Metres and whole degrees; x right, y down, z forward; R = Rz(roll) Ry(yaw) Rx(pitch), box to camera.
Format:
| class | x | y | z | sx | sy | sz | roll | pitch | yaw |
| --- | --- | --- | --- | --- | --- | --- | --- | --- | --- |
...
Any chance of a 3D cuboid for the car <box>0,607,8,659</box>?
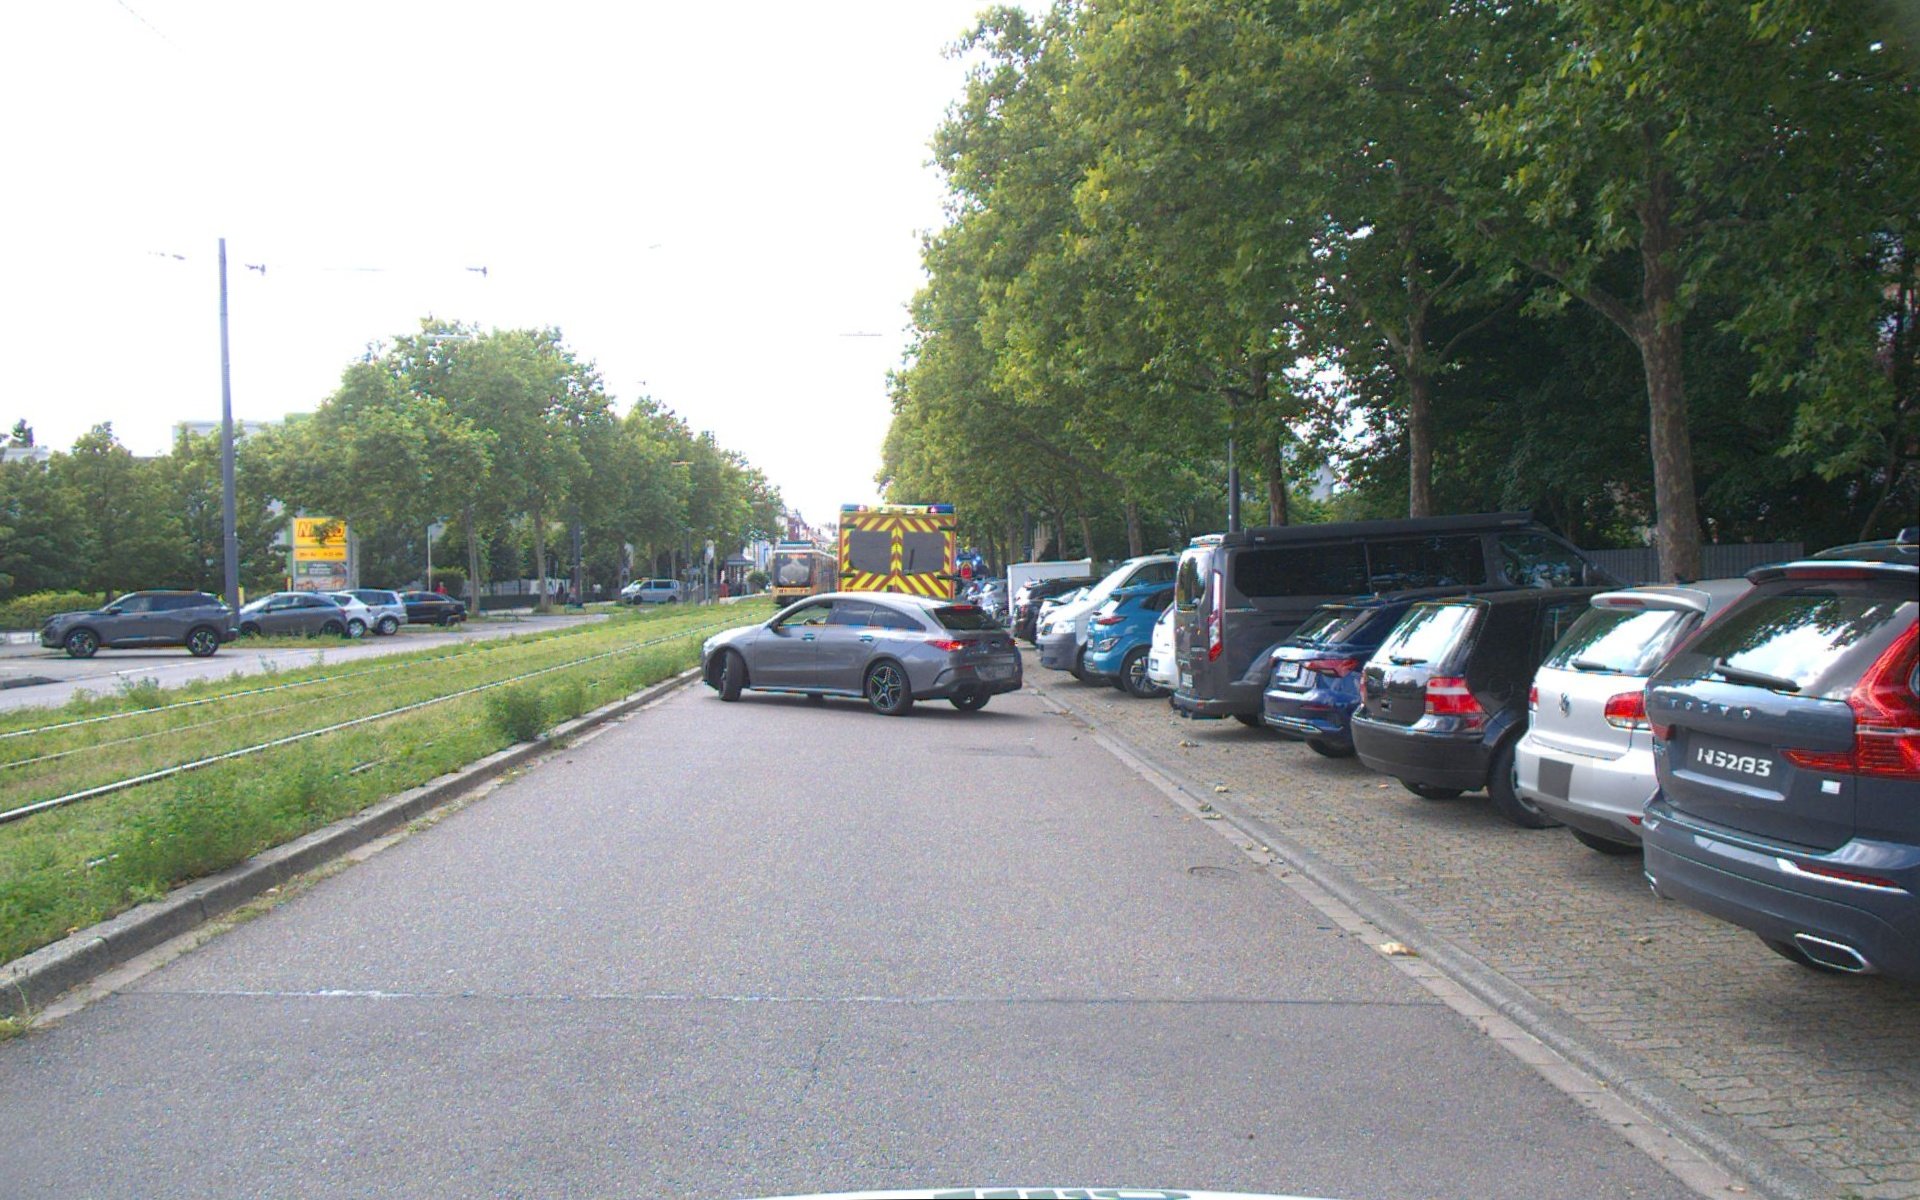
| class | x | y | z | sx | sy | sz | roll | pitch | yaw |
| --- | --- | --- | --- | --- | --- | --- | --- | --- | --- |
| car | -31.145 | 0.976 | 49.789 | 3.905 | 1.592 | 1.777 | 1 | 0 | 0 |

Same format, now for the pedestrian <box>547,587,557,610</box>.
| class | x | y | z | sx | sy | sz | roll | pitch | yaw |
| --- | --- | --- | --- | --- | --- | --- | --- | --- | --- |
| pedestrian | -25.680 | -0.072 | 104.108 | 0.412 | 1.439 | 0.467 | -1 | 0 | 22 |

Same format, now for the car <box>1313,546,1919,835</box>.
| class | x | y | z | sx | sy | sz | roll | pitch | yaw |
| --- | --- | --- | --- | --- | --- | --- | --- | --- | --- |
| car | 4.569 | 0.515 | 11.137 | 3.897 | 1.633 | 1.750 | -2 | 0 | -13 |

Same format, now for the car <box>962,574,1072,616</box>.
| class | x | y | z | sx | sy | sz | roll | pitch | yaw |
| --- | --- | --- | --- | --- | --- | --- | --- | --- | --- |
| car | 2.394 | -0.222 | 70.660 | 4.458 | 1.636 | 1.853 | -2 | 0 | -6 |

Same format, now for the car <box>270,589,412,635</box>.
| class | x | y | z | sx | sy | sz | roll | pitch | yaw |
| --- | --- | --- | --- | --- | --- | --- | --- | --- | --- |
| car | -20.925 | 0.392 | 55.976 | 4.192 | 1.508 | 1.858 | 0 | 0 | -39 |

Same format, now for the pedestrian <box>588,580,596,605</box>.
| class | x | y | z | sx | sy | sz | roll | pitch | yaw |
| --- | --- | --- | --- | --- | --- | --- | --- | --- | --- |
| pedestrian | -27.304 | -0.584 | 122.652 | 0.457 | 1.860 | 0.422 | -1 | 0 | -4 |

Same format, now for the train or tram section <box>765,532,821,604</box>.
| class | x | y | z | sx | sy | sz | roll | pitch | yaw |
| --- | --- | --- | --- | --- | --- | --- | --- | --- | --- |
| train or tram section | -8.910 | -1.634 | 88.649 | 2.462 | 3.646 | 7.441 | -2 | 0 | -3 |

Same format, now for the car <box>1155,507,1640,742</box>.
| class | x | y | z | sx | sy | sz | roll | pitch | yaw |
| --- | --- | --- | --- | --- | --- | --- | --- | --- | --- |
| car | 4.399 | 0.226 | 17.083 | 4.455 | 2.160 | 1.855 | -2 | 0 | -3 |

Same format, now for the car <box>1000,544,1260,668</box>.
| class | x | y | z | sx | sy | sz | roll | pitch | yaw |
| --- | --- | --- | --- | --- | --- | --- | --- | --- | --- |
| car | 3.093 | 0.094 | 30.630 | 4.458 | 2.079 | 1.853 | -2 | 0 | -6 |

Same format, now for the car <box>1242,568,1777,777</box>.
| class | x | y | z | sx | sy | sz | roll | pitch | yaw |
| --- | --- | --- | --- | --- | --- | --- | --- | --- | --- |
| car | 4.514 | 0.566 | 13.961 | 3.886 | 1.520 | 1.755 | -2 | 0 | -3 |

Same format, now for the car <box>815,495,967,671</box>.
| class | x | y | z | sx | sy | sz | roll | pitch | yaw |
| --- | --- | --- | --- | --- | --- | --- | --- | --- | --- |
| car | -1.265 | -0.313 | 32.466 | 2.588 | 3.018 | 6.298 | 2 | 0 | -1 |

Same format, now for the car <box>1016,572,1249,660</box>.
| class | x | y | z | sx | sy | sz | roll | pitch | yaw |
| --- | --- | --- | --- | --- | --- | --- | --- | --- | --- |
| car | 3.509 | 0.306 | 34.123 | 4.458 | 1.636 | 1.853 | -2 | 0 | -6 |

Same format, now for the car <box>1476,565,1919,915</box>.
| class | x | y | z | sx | sy | sz | roll | pitch | yaw |
| --- | --- | --- | --- | --- | --- | --- | --- | --- | --- |
| car | 4.864 | 0.589 | 8.424 | 3.886 | 1.520 | 1.755 | -2 | 0 | -3 |

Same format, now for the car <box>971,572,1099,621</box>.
| class | x | y | z | sx | sy | sz | roll | pitch | yaw |
| --- | --- | --- | --- | --- | --- | --- | --- | --- | --- |
| car | 2.727 | -0.132 | 60.819 | 4.458 | 1.636 | 1.853 | -2 | 0 | -6 |

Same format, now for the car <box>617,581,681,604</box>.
| class | x | y | z | sx | sy | sz | roll | pitch | yaw |
| --- | --- | --- | --- | --- | --- | --- | --- | --- | --- |
| car | -24.164 | -0.604 | 128.612 | 4.588 | 1.661 | 1.855 | -2 | 1 | -42 |

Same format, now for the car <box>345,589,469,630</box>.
| class | x | y | z | sx | sy | sz | roll | pitch | yaw |
| --- | --- | --- | --- | --- | --- | --- | --- | --- | --- |
| car | -21.411 | 0.353 | 64.164 | 4.199 | 1.508 | 1.854 | 0 | 0 | -42 |

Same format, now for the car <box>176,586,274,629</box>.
| class | x | y | z | sx | sy | sz | roll | pitch | yaw |
| --- | --- | --- | --- | --- | --- | --- | --- | --- | --- |
| car | -32.455 | 0.321 | 73.051 | 3.912 | 1.780 | 1.997 | 2 | 1 | 29 |

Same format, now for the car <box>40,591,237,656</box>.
| class | x | y | z | sx | sy | sz | roll | pitch | yaw |
| --- | --- | --- | --- | --- | --- | --- | --- | --- | --- |
| car | -19.786 | 0.542 | 39.952 | 4.172 | 1.508 | 1.867 | 0 | 0 | -27 |

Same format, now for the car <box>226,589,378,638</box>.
| class | x | y | z | sx | sy | sz | roll | pitch | yaw |
| --- | --- | --- | --- | --- | --- | --- | --- | --- | --- |
| car | -21.029 | 0.400 | 52.918 | 4.192 | 1.508 | 1.858 | 0 | 0 | -39 |

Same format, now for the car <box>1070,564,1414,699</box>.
| class | x | y | z | sx | sy | sz | roll | pitch | yaw |
| --- | --- | --- | --- | --- | --- | --- | --- | --- | --- |
| car | 3.944 | 0.414 | 23.534 | 4.459 | 1.689 | 1.853 | -2 | 0 | -7 |

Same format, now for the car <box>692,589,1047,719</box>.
| class | x | y | z | sx | sy | sz | roll | pitch | yaw |
| --- | --- | --- | --- | --- | --- | --- | --- | --- | --- |
| car | -1.211 | 0.611 | 20.935 | 4.380 | 1.409 | 1.759 | 2 | 0 | 37 |

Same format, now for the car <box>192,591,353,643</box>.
| class | x | y | z | sx | sy | sz | roll | pitch | yaw |
| --- | --- | --- | --- | --- | --- | --- | --- | --- | --- |
| car | -20.756 | 0.490 | 50.020 | 4.192 | 1.508 | 1.858 | 0 | 0 | -39 |

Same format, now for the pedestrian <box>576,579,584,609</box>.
| class | x | y | z | sx | sy | sz | roll | pitch | yaw |
| --- | --- | --- | --- | --- | --- | --- | --- | --- | --- |
| pedestrian | -22.624 | -0.359 | 98.479 | 0.413 | 1.760 | 0.467 | -1 | 0 | -7 |

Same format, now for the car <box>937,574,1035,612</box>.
| class | x | y | z | sx | sy | sz | roll | pitch | yaw |
| --- | --- | --- | --- | --- | --- | --- | --- | --- | --- |
| car | 1.233 | -0.339 | 78.849 | 4.458 | 1.636 | 1.853 | -2 | 0 | -6 |

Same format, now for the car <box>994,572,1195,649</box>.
| class | x | y | z | sx | sy | sz | roll | pitch | yaw |
| --- | --- | --- | --- | --- | --- | --- | --- | --- | --- |
| car | 3.157 | 0.234 | 39.268 | 4.458 | 1.636 | 1.853 | -2 | 0 | -6 |

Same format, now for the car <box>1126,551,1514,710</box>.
| class | x | y | z | sx | sy | sz | roll | pitch | yaw |
| --- | --- | --- | --- | --- | --- | --- | --- | --- | --- |
| car | 4.484 | 0.357 | 21.023 | 4.455 | 1.797 | 1.855 | -2 | 0 | -3 |

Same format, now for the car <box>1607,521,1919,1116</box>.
| class | x | y | z | sx | sy | sz | roll | pitch | yaw |
| --- | --- | --- | --- | --- | --- | --- | --- | --- | --- |
| car | 4.679 | 0.545 | 5.562 | 4.292 | 1.668 | 1.756 | -2 | 0 | -1 |

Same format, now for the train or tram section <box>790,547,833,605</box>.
| class | x | y | z | sx | sy | sz | roll | pitch | yaw |
| --- | --- | --- | --- | --- | --- | --- | --- | --- | --- |
| train or tram section | -9.915 | -1.547 | 110.936 | 2.462 | 3.646 | 7.441 | -2 | 0 | -3 |

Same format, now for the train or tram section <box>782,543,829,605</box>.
| class | x | y | z | sx | sy | sz | roll | pitch | yaw |
| --- | --- | --- | --- | --- | --- | --- | --- | --- | --- |
| train or tram section | -9.588 | -1.576 | 103.504 | 2.462 | 3.646 | 7.441 | -2 | 0 | -3 |

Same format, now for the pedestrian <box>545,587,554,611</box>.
| class | x | y | z | sx | sy | sz | roll | pitch | yaw |
| --- | --- | --- | --- | --- | --- | --- | --- | --- | --- |
| pedestrian | -25.390 | -0.049 | 102.286 | 0.413 | 1.499 | 0.467 | -1 | 0 | -7 |

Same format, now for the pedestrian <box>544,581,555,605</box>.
| class | x | y | z | sx | sy | sz | roll | pitch | yaw |
| --- | --- | --- | --- | --- | --- | --- | --- | --- | --- |
| pedestrian | -27.655 | -0.472 | 111.370 | 0.620 | 1.578 | 0.621 | -1 | 0 | -5 |

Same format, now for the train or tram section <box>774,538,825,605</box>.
| class | x | y | z | sx | sy | sz | roll | pitch | yaw |
| --- | --- | --- | --- | --- | --- | --- | --- | --- | --- |
| train or tram section | -9.253 | -1.605 | 96.070 | 2.462 | 3.646 | 7.441 | -2 | 0 | -3 |

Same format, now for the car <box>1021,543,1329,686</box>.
| class | x | y | z | sx | sy | sz | roll | pitch | yaw |
| --- | --- | --- | --- | --- | --- | --- | --- | --- | --- |
| car | 3.324 | 0.200 | 26.044 | 4.458 | 2.035 | 1.853 | -2 | 0 | -6 |

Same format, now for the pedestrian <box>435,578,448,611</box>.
| class | x | y | z | sx | sy | sz | roll | pitch | yaw |
| --- | --- | --- | --- | --- | --- | --- | --- | --- | --- |
| pedestrian | -26.534 | -0.286 | 84.612 | 0.457 | 1.706 | 0.603 | -1 | 0 | -4 |
